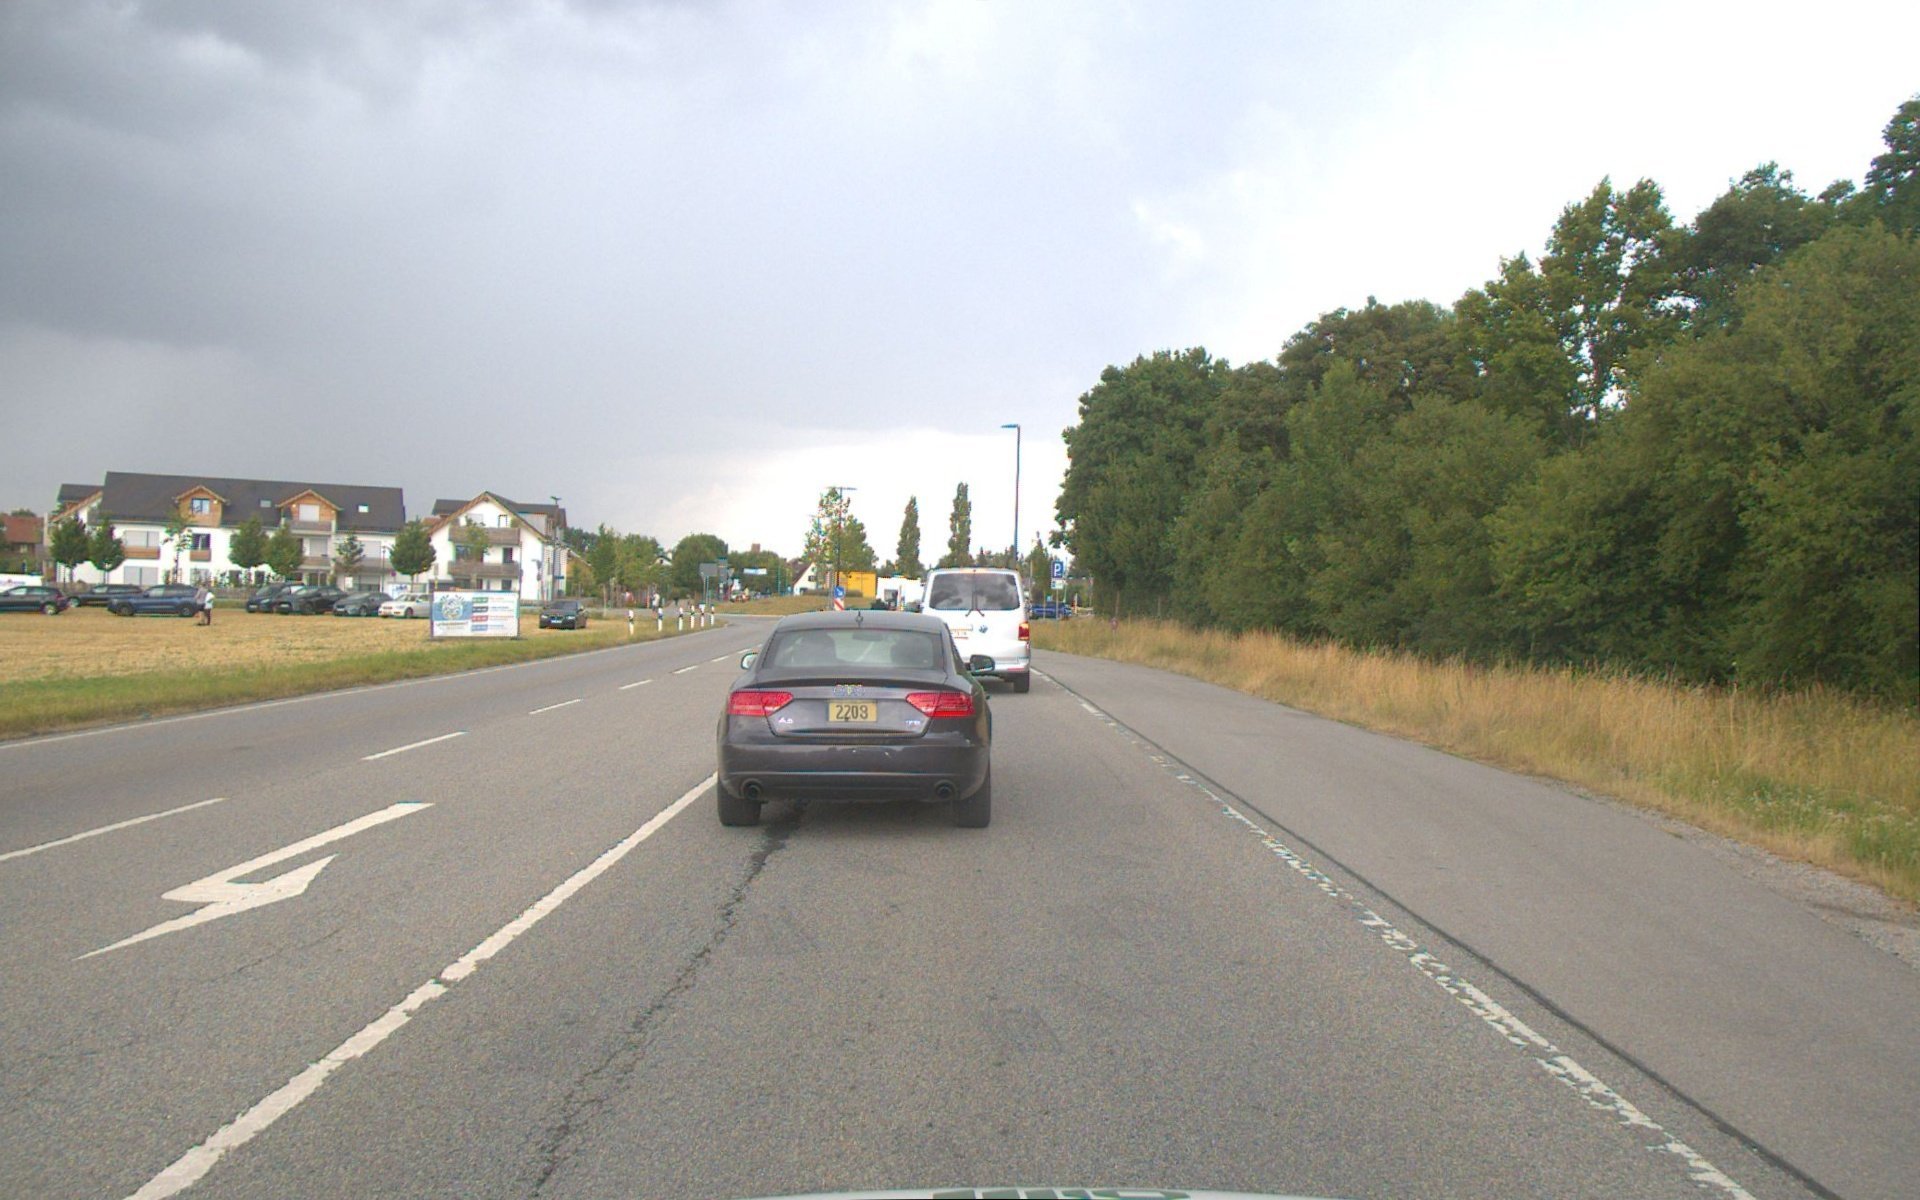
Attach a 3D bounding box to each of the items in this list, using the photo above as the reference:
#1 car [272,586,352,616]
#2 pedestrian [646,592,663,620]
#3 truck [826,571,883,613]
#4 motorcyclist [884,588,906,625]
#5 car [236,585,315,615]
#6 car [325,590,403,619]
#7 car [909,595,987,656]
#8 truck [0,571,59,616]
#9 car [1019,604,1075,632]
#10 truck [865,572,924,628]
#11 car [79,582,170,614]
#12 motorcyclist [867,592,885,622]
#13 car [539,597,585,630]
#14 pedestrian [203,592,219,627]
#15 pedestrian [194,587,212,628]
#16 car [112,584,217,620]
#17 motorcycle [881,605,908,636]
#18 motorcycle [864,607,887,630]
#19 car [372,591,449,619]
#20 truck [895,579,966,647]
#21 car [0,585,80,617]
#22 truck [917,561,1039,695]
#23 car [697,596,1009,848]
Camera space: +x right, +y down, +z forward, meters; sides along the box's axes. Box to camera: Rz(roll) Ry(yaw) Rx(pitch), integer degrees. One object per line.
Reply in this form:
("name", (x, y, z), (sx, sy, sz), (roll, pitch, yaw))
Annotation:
("car", (-36.526, 0.059, 93.341), (1.952, 1.657, 4.213), (1, 0, 18))
("pedestrian", (-17.829, 0.352, 96.508), (0.686, 1.613, 0.658), (1, 0, 16))
("truck", (-9.858, -0.818, 153.168), (3.515, 3.640, 9.921), (2, 0, -14))
("motorcyclist", (-2.457, 0.244, 62.829), (0.756, 1.407, 0.820), (1, 0, 0))
("car", (-39.531, 0.020, 95.649), (1.952, 1.657, 4.213), (1, 0, 18))
("car", (-33.434, 0.249, 92.897), (1.952, 1.562, 4.213), (1, 0, 18))
("car", (-0.333, 0.652, 44.270), (1.953, 1.511, 3.999), (1, 0, -1))
("truck", (-50.174, -0.375, 86.013), (5.490, 2.235, 2.588), (1, 0, -24))
("car", (6.896, 1.452, 130.911), (3.904, 2.049, 2.000), (2, 0, 20))
("truck", (-3.506, 0.003, 87.670), (2.576, 2.785, 5.858), (2, 0, -7))
("car", (-49.034, -0.119, 97.155), (4.558, 1.727, 1.988), (1, 0, -21))
("motorcyclist", (-3.896, 0.329, 76.489), (0.769, 1.380, 0.854), (1, 0, -1))
("car", (-19.206, 0.618, 79.945), (1.958, 1.467, 3.990), (1, 1, -11))
("pedestrian", (-33.623, 0.418, 74.235), (0.580, 1.583, 0.622), (1, 0, -19))
("pedestrian", (-33.537, 0.339, 73.289), (0.538, 1.817, 0.676), (1, 0, -12))
("car", (-41.098, 0.116, 85.552), (4.647, 1.727, 1.988), (1, 0, -21))
("motorcycle", (-2.470, 0.762, 62.903), (0.901, 1.113, 2.188), (1, 0, 0))
("motorcycle", (-3.894, 0.857, 76.521), (0.925, 1.037, 2.283), (1, 0, 0))
("car", (-30.719, 0.283, 92.521), (1.952, 1.471, 4.213), (1, 0, 18))
("truck", (-0.913, 0.414, 53.367), (2.149, 2.049, 5.084), (1, 0, 0))
("car", (-46.659, 0.042, 83.049), (4.095, 1.545, 1.988), (1, 0, -21))
("truck", (0.281, 0.427, 27.994), (1.865, 2.033, 4.628), (1, 0, 0))
("car", (-0.657, 0.727, 11.929), (1.837, 1.479, 4.176), (1, 0, -1))
